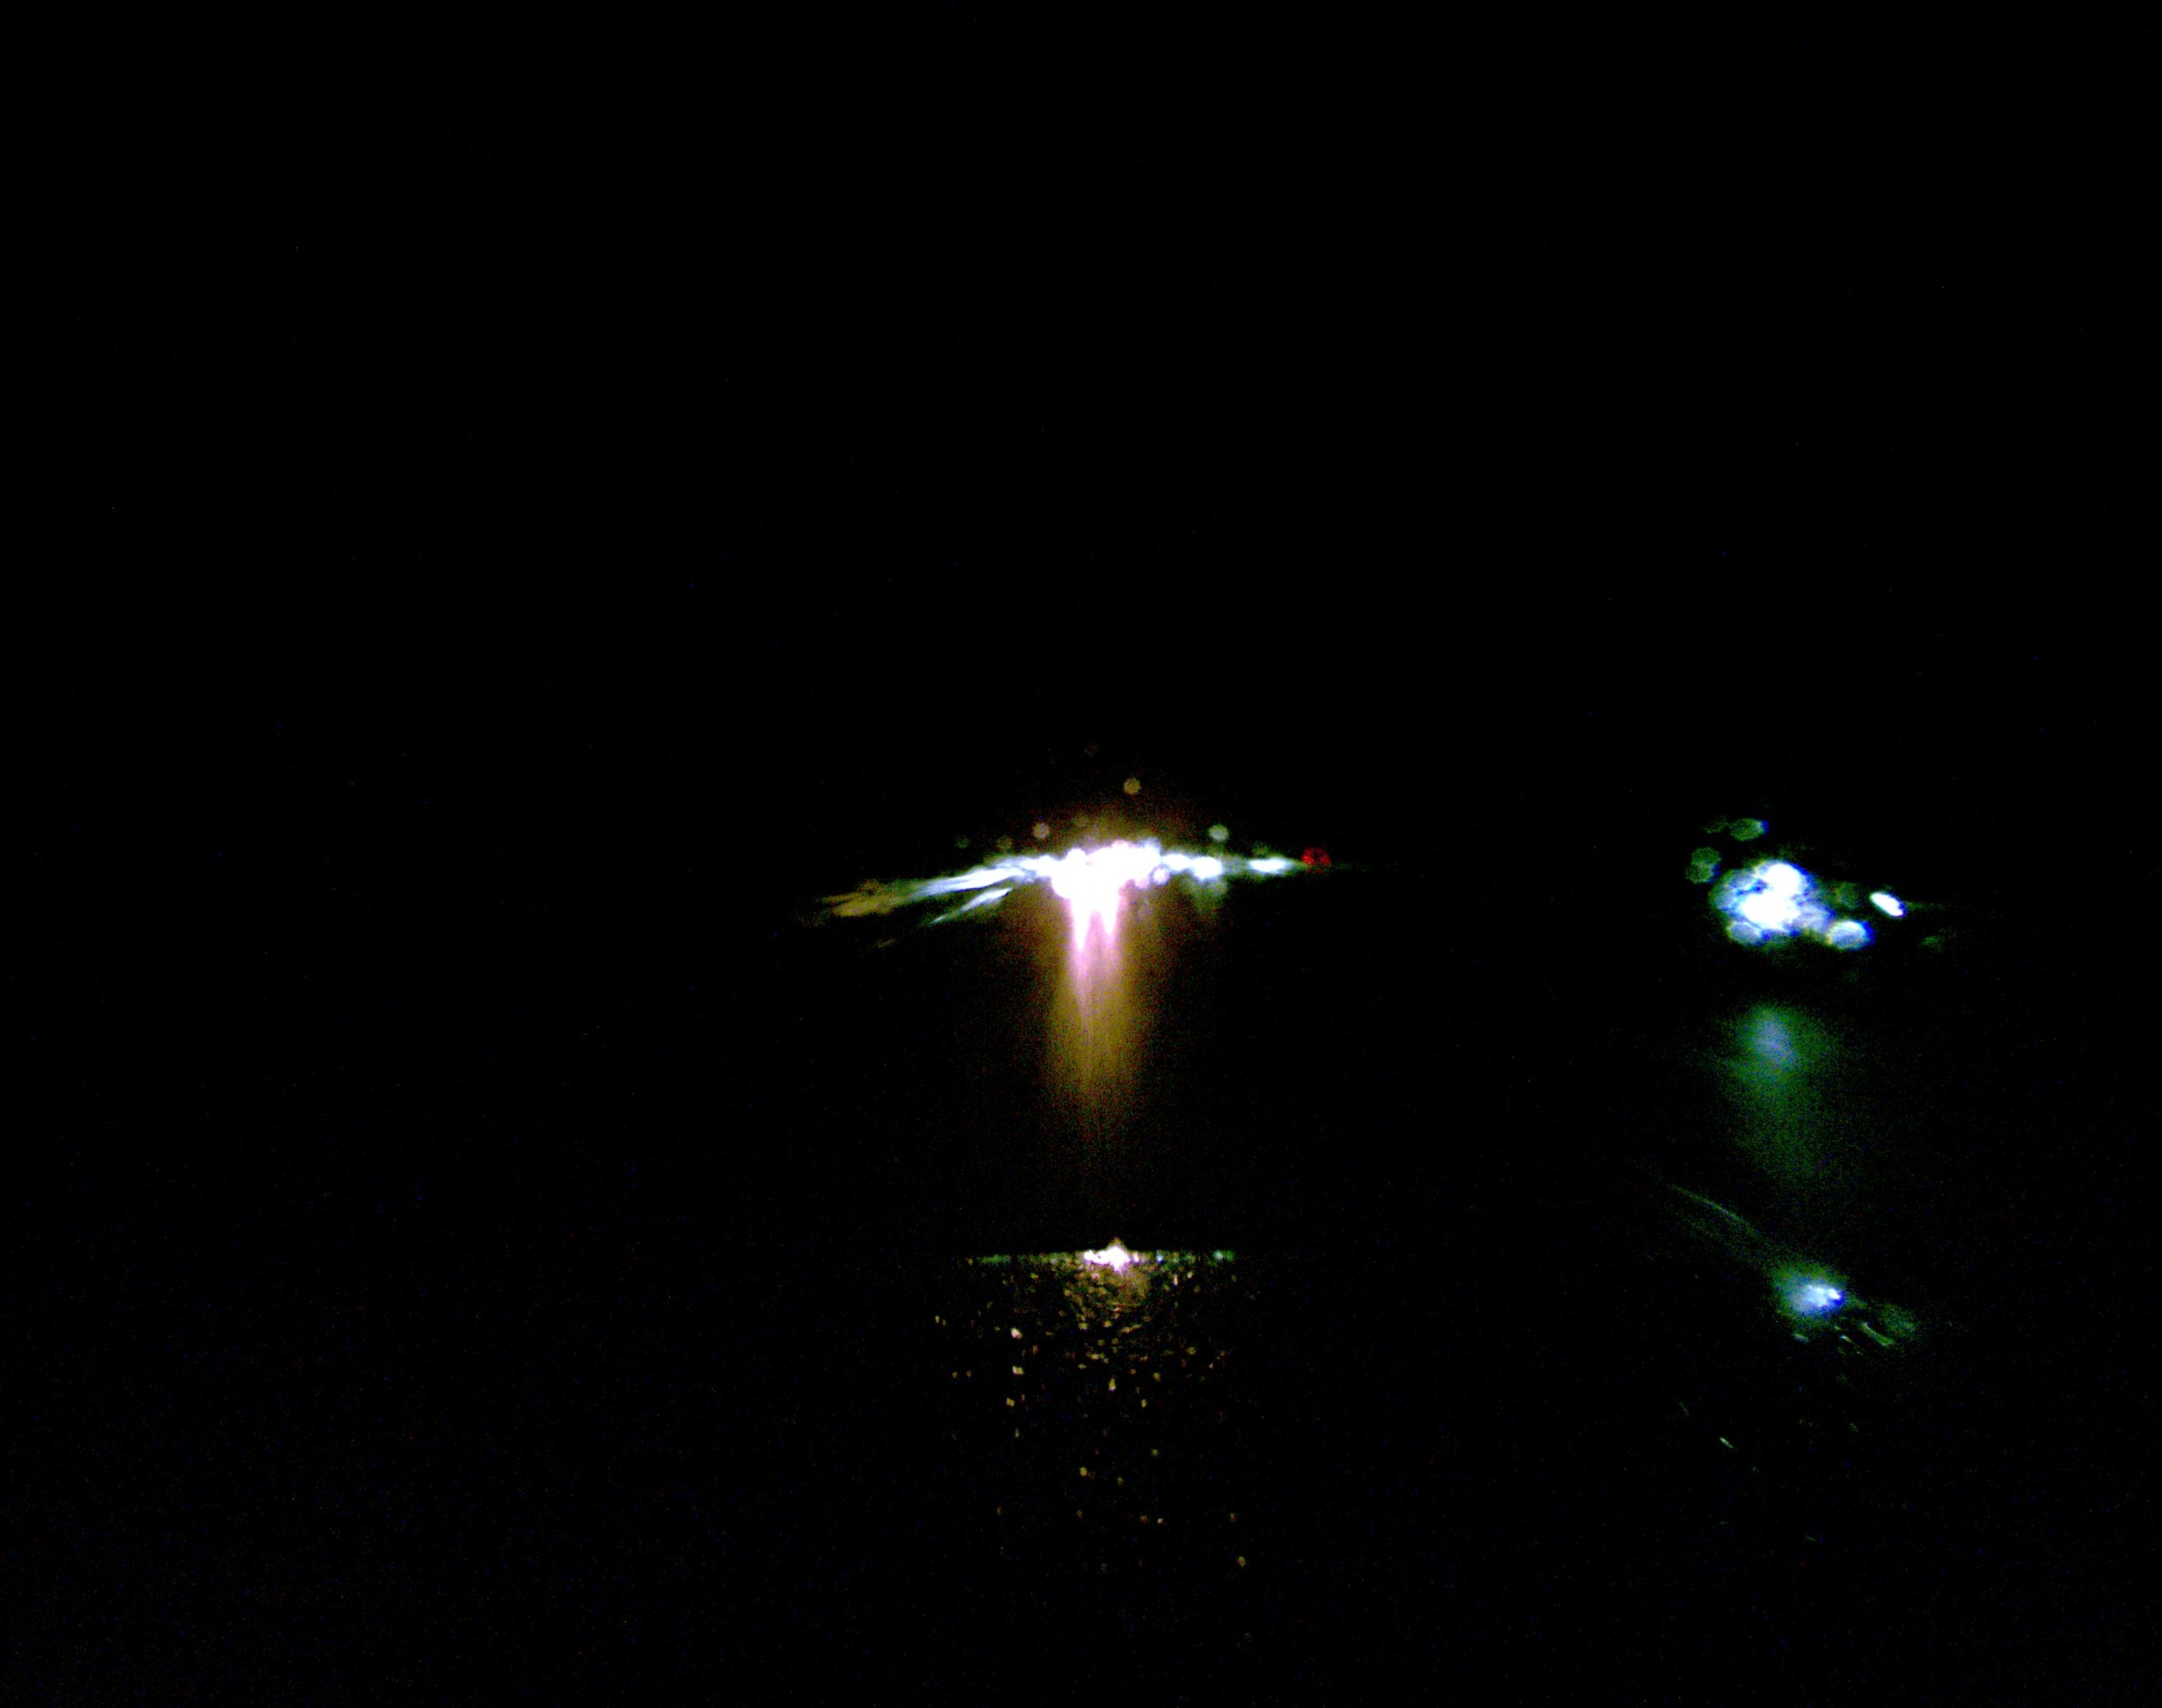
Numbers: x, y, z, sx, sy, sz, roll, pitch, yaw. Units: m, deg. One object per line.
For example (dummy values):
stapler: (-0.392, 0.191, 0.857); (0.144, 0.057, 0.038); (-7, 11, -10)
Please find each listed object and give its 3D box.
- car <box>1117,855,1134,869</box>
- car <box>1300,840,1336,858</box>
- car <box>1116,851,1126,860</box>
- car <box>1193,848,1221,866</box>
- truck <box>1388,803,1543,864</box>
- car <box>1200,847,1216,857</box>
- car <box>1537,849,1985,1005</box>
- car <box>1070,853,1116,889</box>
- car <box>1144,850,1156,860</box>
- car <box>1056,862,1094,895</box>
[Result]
car: (5.642, 0.995, 96.761); (1.998, 1.551, 4.587); (-3, 1, 1)
car: (21.869, -0.502, 70.295); (1.884, 1.548, 4.459); (-3, 1, 0)
car: (8.618, 0.358, 162.448); (1.998, 1.797, 4.000); (-3, 1, 2)
car: (12.445, 0.275, 75.380); (1.998, 1.551, 4.587); (-3, 1, 1)
truck: (29.001, -1.446, 59.043); (3.508, 3.865, 17.179); (-3, 1, 1)
car: (21.568, -0.360, 128.826); (1.884, 1.548, 4.459); (-3, 1, 0)
car: (7.845, 0.703, 9.425); (1.998, 1.433, 4.000); (-3, 1, 1)
car: (0.561, 0.806, 36.077); (1.998, 1.542, 4.001); (-3, -2, 1)
car: (13.165, 0.132, 145.287); (1.998, 1.797, 4.000); (-3, 1, 2)
car: (-0.210, 1.036, 33.328); (1.525, 1.256, 3.369); (-3, 1, 1)
